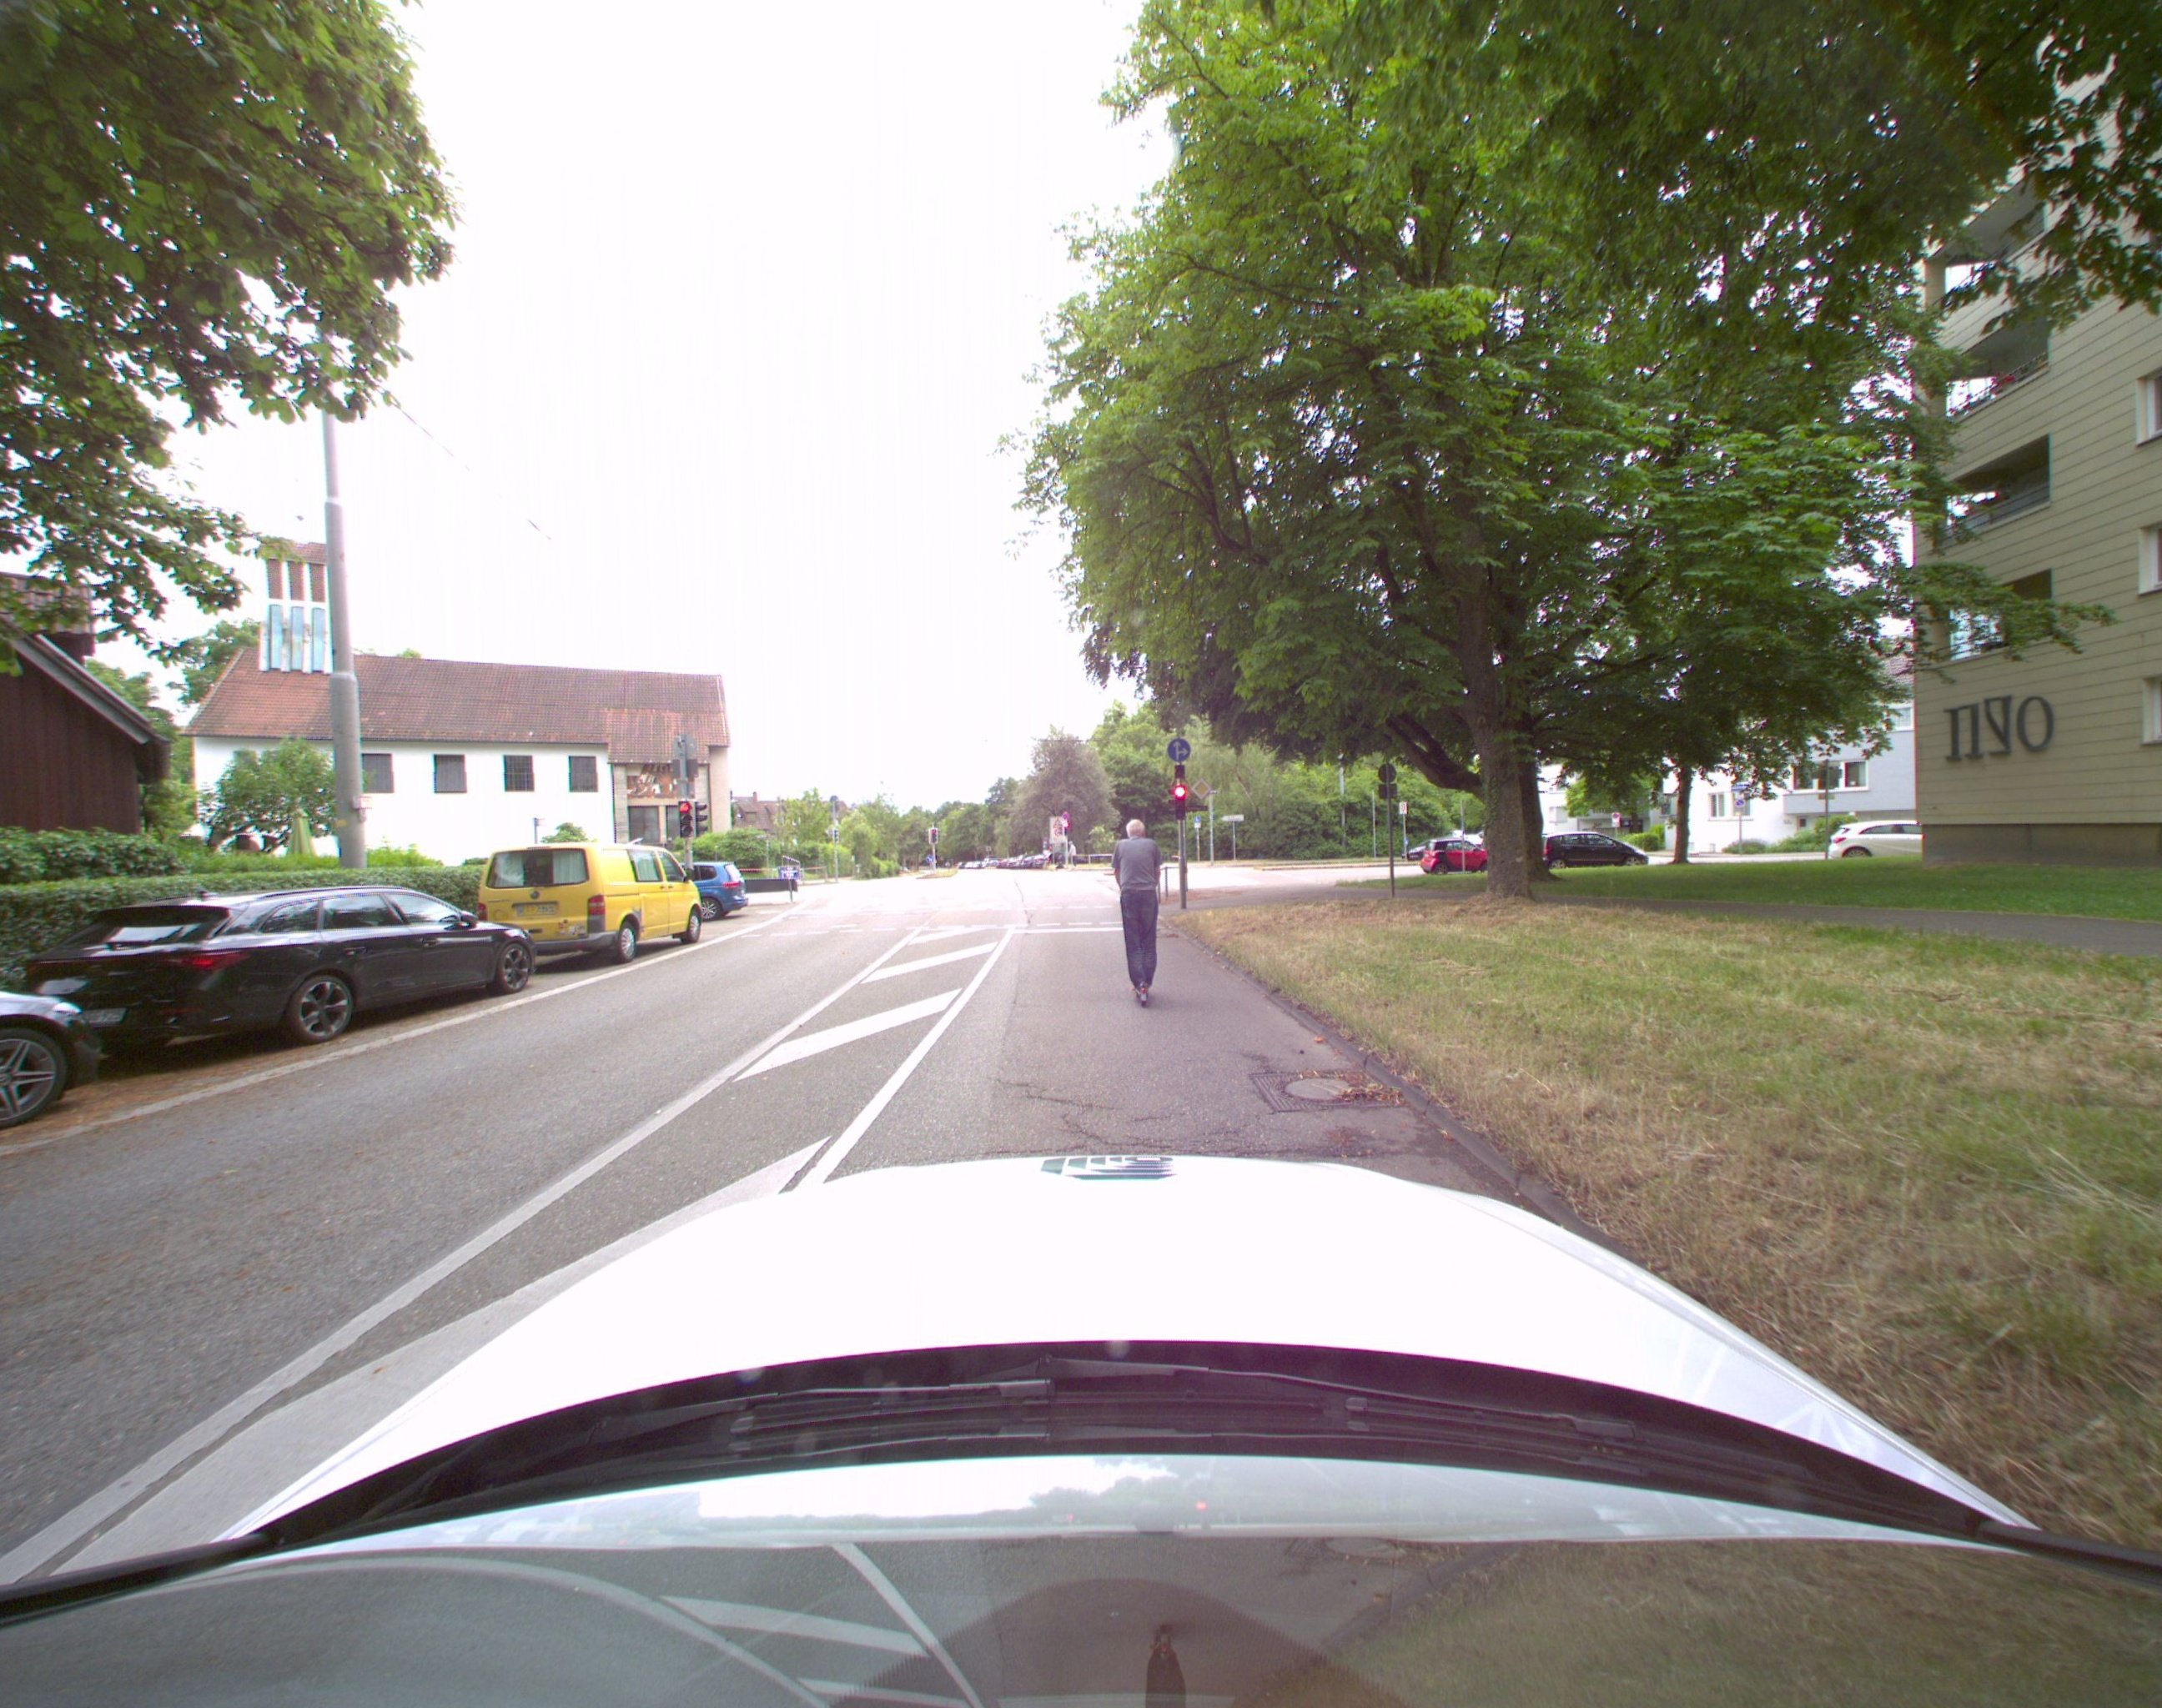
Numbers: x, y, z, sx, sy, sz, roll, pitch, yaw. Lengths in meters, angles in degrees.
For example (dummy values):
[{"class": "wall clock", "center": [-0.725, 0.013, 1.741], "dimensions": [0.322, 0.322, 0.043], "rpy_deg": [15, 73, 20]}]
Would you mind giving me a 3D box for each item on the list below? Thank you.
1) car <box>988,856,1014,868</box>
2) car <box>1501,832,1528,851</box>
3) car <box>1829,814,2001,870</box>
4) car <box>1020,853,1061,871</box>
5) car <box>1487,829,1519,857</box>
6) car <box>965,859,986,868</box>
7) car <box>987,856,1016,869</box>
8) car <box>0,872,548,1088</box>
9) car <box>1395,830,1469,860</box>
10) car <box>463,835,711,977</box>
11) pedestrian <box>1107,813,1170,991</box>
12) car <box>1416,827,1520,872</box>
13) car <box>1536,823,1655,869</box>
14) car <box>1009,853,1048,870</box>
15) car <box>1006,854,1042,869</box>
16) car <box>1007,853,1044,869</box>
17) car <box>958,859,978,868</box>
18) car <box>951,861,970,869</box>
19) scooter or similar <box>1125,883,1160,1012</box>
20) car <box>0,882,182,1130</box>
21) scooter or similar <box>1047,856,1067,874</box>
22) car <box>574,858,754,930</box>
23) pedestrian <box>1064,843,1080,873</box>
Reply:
[{"class": "car", "center": [-12.802, 1.268, 130.232], "dimensions": [3.857, 1.610, 1.715], "rpy_deg": [-4, 0, -22]}, {"class": "car", "center": [41.333, -1.215, 77.700], "dimensions": [1.708, 1.610, 3.874], "rpy_deg": [-3, 0, 21]}, {"class": "car", "center": [27.548, -0.389, 27.106], "dimensions": [3.804, 1.610, 1.739], "rpy_deg": [-3, 0, 41]}, {"class": "car", "center": [-4.238, 0.838, 85.092], "dimensions": [3.859, 1.610, 1.715], "rpy_deg": [-4, 0, -24]}, {"class": "car", "center": [27.864, -0.752, 53.731], "dimensions": [1.706, 1.610, 3.878], "rpy_deg": [-3, 0, 28]}, {"class": "car", "center": [-21.667, 1.996, 167.116], "dimensions": [3.857, 1.610, 1.715], "rpy_deg": [-4, 0, -22]}, {"class": "car", "center": [-11.433, 1.247, 117.262], "dimensions": [3.857, 1.610, 1.715], "rpy_deg": [-4, 0, -22]}, {"class": "car", "center": [-7.907, 1.032, 8.583], "dimensions": [1.687, 1.485, 4.538], "rpy_deg": [-3, 0, -3]}, {"class": "car", "center": [20.332, -0.508, 47.266], "dimensions": [3.500, 1.530, 1.731], "rpy_deg": [-3, 0, 6]}, {"class": "car", "center": [-8.342, 0.760, 14.344], "dimensions": [1.881, 2.013, 4.556], "rpy_deg": [-3, 0, -6]}, {"class": "pedestrian", "center": [0.599, 0.496, 8.614], "dimensions": [0.570, 1.813, 0.420], "rpy_deg": [-3, 0, 2]}, {"class": "car", "center": [16.049, -0.191, 33.925], "dimensions": [3.501, 1.610, 1.731], "rpy_deg": [-3, 0, 5]}, {"class": "car", "center": [20.391, -0.312, 32.468], "dimensions": [3.805, 1.610, 1.739], "rpy_deg": [-3, 0, 26]}, {"class": "car", "center": [-5.801, 0.854, 89.670], "dimensions": [3.857, 1.610, 1.715], "rpy_deg": [-4, 0, -22]}, {"class": "car", "center": [-6.861, 0.879, 97.397], "dimensions": [3.857, 1.610, 1.715], "rpy_deg": [-4, 0, -22]}, {"class": "car", "center": [-6.474, 0.859, 94.985], "dimensions": [3.857, 1.610, 1.715], "rpy_deg": [-4, 0, -22]}, {"class": "car", "center": [-24.180, 2.058, 174.184], "dimensions": [3.857, 1.610, 1.715], "rpy_deg": [-4, 0, -22]}, {"class": "car", "center": [-27.147, 2.411, 183.793], "dimensions": [3.857, 1.610, 1.715], "rpy_deg": [-4, 0, -22]}, {"class": "scooter or similar", "center": [0.630, 0.917, 8.399], "dimensions": [0.280, 1.178, 1.178], "rpy_deg": [-3, 0, 4]}, {"class": "car", "center": [-7.748, 1.021, 3.757], "dimensions": [1.987, 1.500, 4.615], "rpy_deg": [-3, 0, 0]}, {"class": "scooter or similar", "center": [-1.541, 0.683, 52.303], "dimensions": [1.108, 1.081, 0.575], "rpy_deg": [-3, 0, -13]}, {"class": "car", "center": [-11.290, 1.048, 22.358], "dimensions": [3.994, 1.610, 1.809], "rpy_deg": [-4, 0, -15]}, {"class": "pedestrian", "center": [-0.599, 0.262, 52.506], "dimensions": [0.885, 1.862, 0.572], "rpy_deg": [-3, 0, -12]}]
